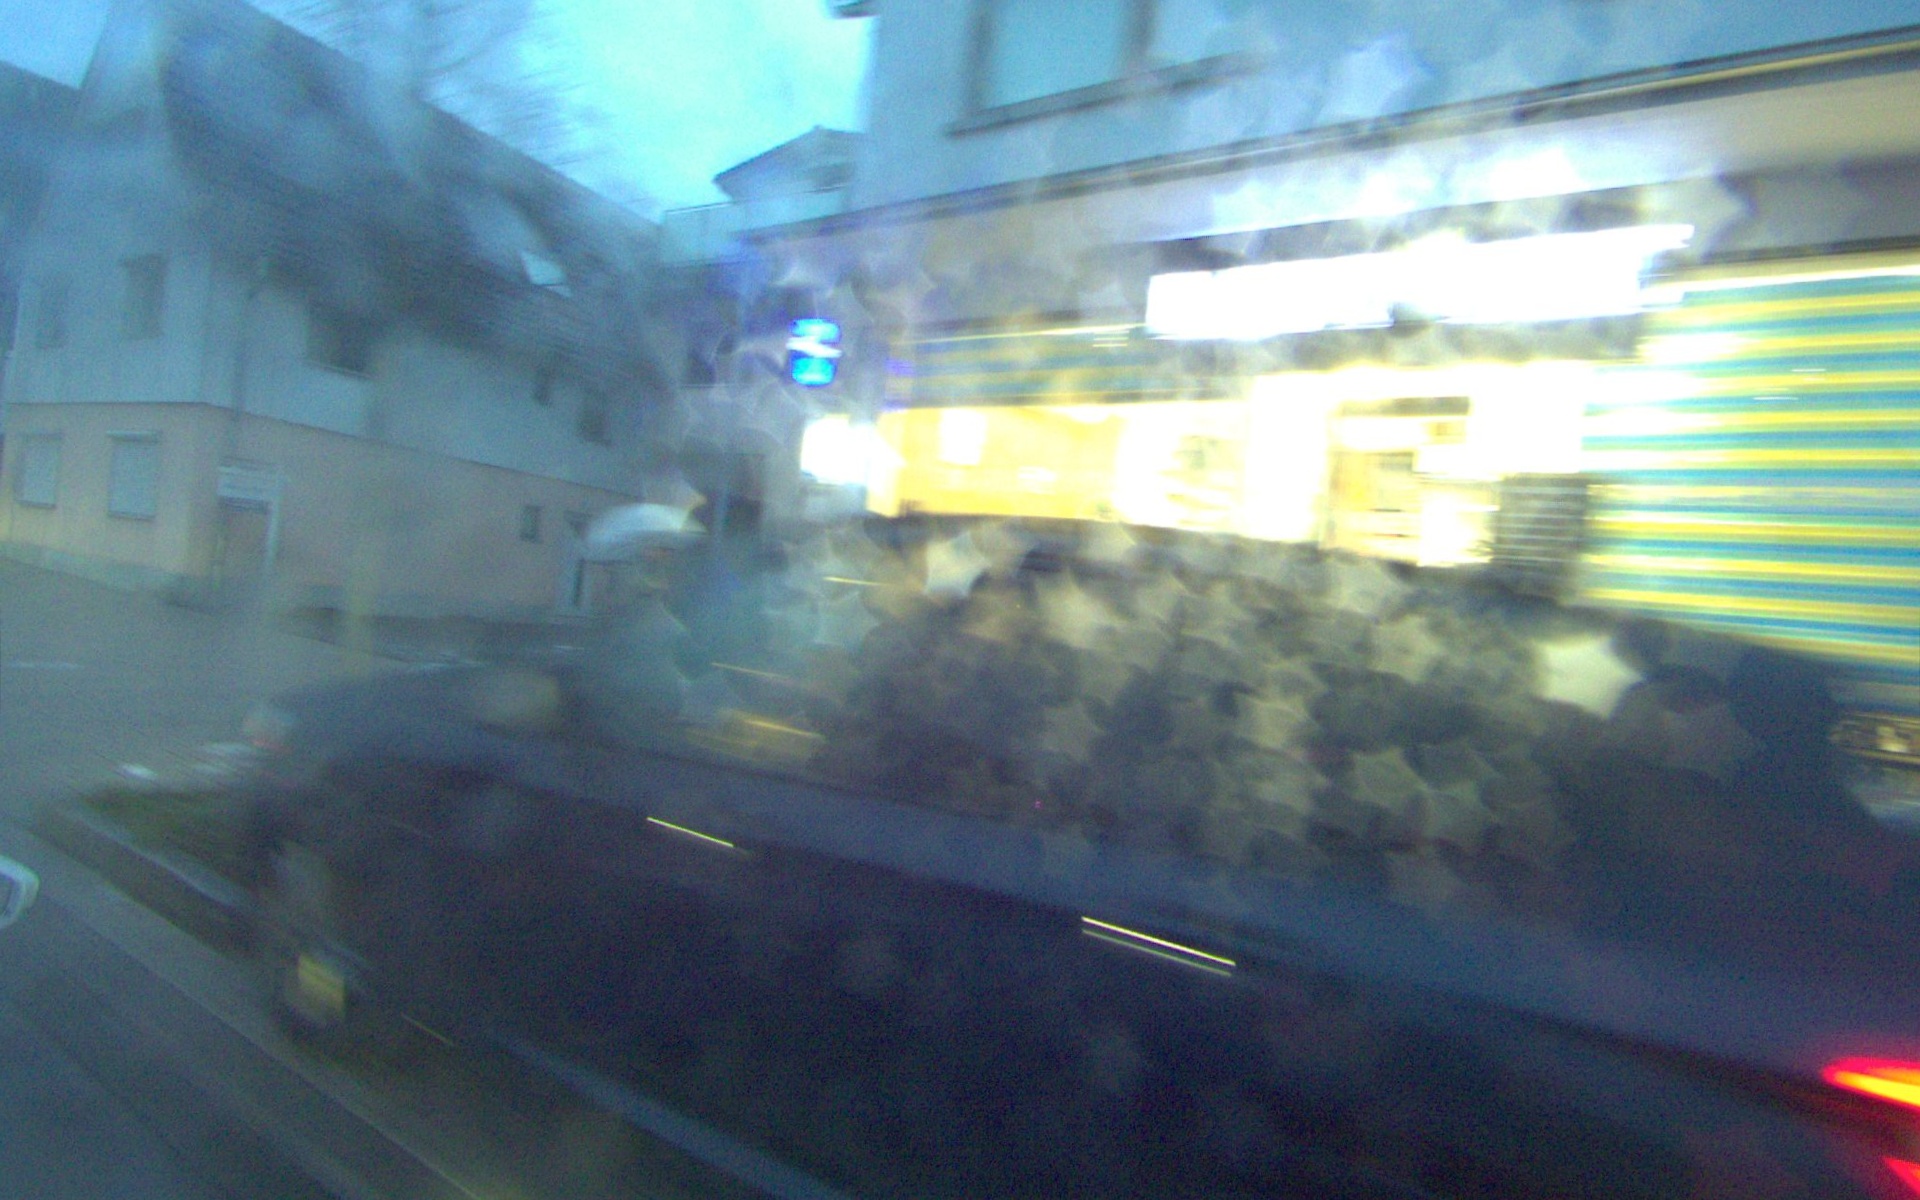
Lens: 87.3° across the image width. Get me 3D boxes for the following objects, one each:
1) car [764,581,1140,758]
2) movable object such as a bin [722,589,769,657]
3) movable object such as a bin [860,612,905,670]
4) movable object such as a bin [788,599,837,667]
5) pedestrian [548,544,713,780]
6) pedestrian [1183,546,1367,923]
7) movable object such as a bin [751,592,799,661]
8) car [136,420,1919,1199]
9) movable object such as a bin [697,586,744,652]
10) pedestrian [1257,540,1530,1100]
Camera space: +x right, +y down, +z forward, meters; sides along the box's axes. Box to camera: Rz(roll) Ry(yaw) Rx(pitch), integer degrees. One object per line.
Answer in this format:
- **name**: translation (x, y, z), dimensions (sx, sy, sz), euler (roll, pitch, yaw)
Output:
- **car**: translation (0.048, 0.803, 10.857), dimensions (3.865, 1.444, 1.660), euler (8, 0, -44)
- **movable object such as a bin**: translation (-3.718, 0.395, 17.450), dimensions (0.576, 1.090, 0.372), euler (7, -2, 30)
- **movable object such as a bin**: translation (-1.354, 0.716, 17.539), dimensions (0.576, 0.917, 0.372), euler (7, -2, 30)
- **movable object such as a bin**: translation (-2.486, 0.554, 16.934), dimensions (0.576, 1.059, 0.372), euler (7, -2, 30)
- **pedestrian**: translation (-2.360, 0.433, 7.248), dimensions (0.720, 1.534, 0.620), euler (8, 0, 17)
- **pedestrian**: translation (1.585, 0.638, 5.057), dimensions (0.611, 1.746, 0.500), euler (4, -3, 37)
- **movable object such as a bin**: translation (-3.168, 0.450, 17.207), dimensions (0.576, 1.090, 0.372), euler (7, -2, 30)
- **car**: translation (-0.154, 0.576, 2.747), dimensions (4.312, 1.713, 1.738), euler (6, 0, 30)
- **movable object such as a bin**: translation (-4.225, 0.338, 17.772), dimensions (0.576, 1.090, 0.372), euler (7, -2, 30)
- **pedestrian**: translation (1.533, 0.696, 3.541), dimensions (0.642, 1.721, 0.573), euler (6, 2, 32)
